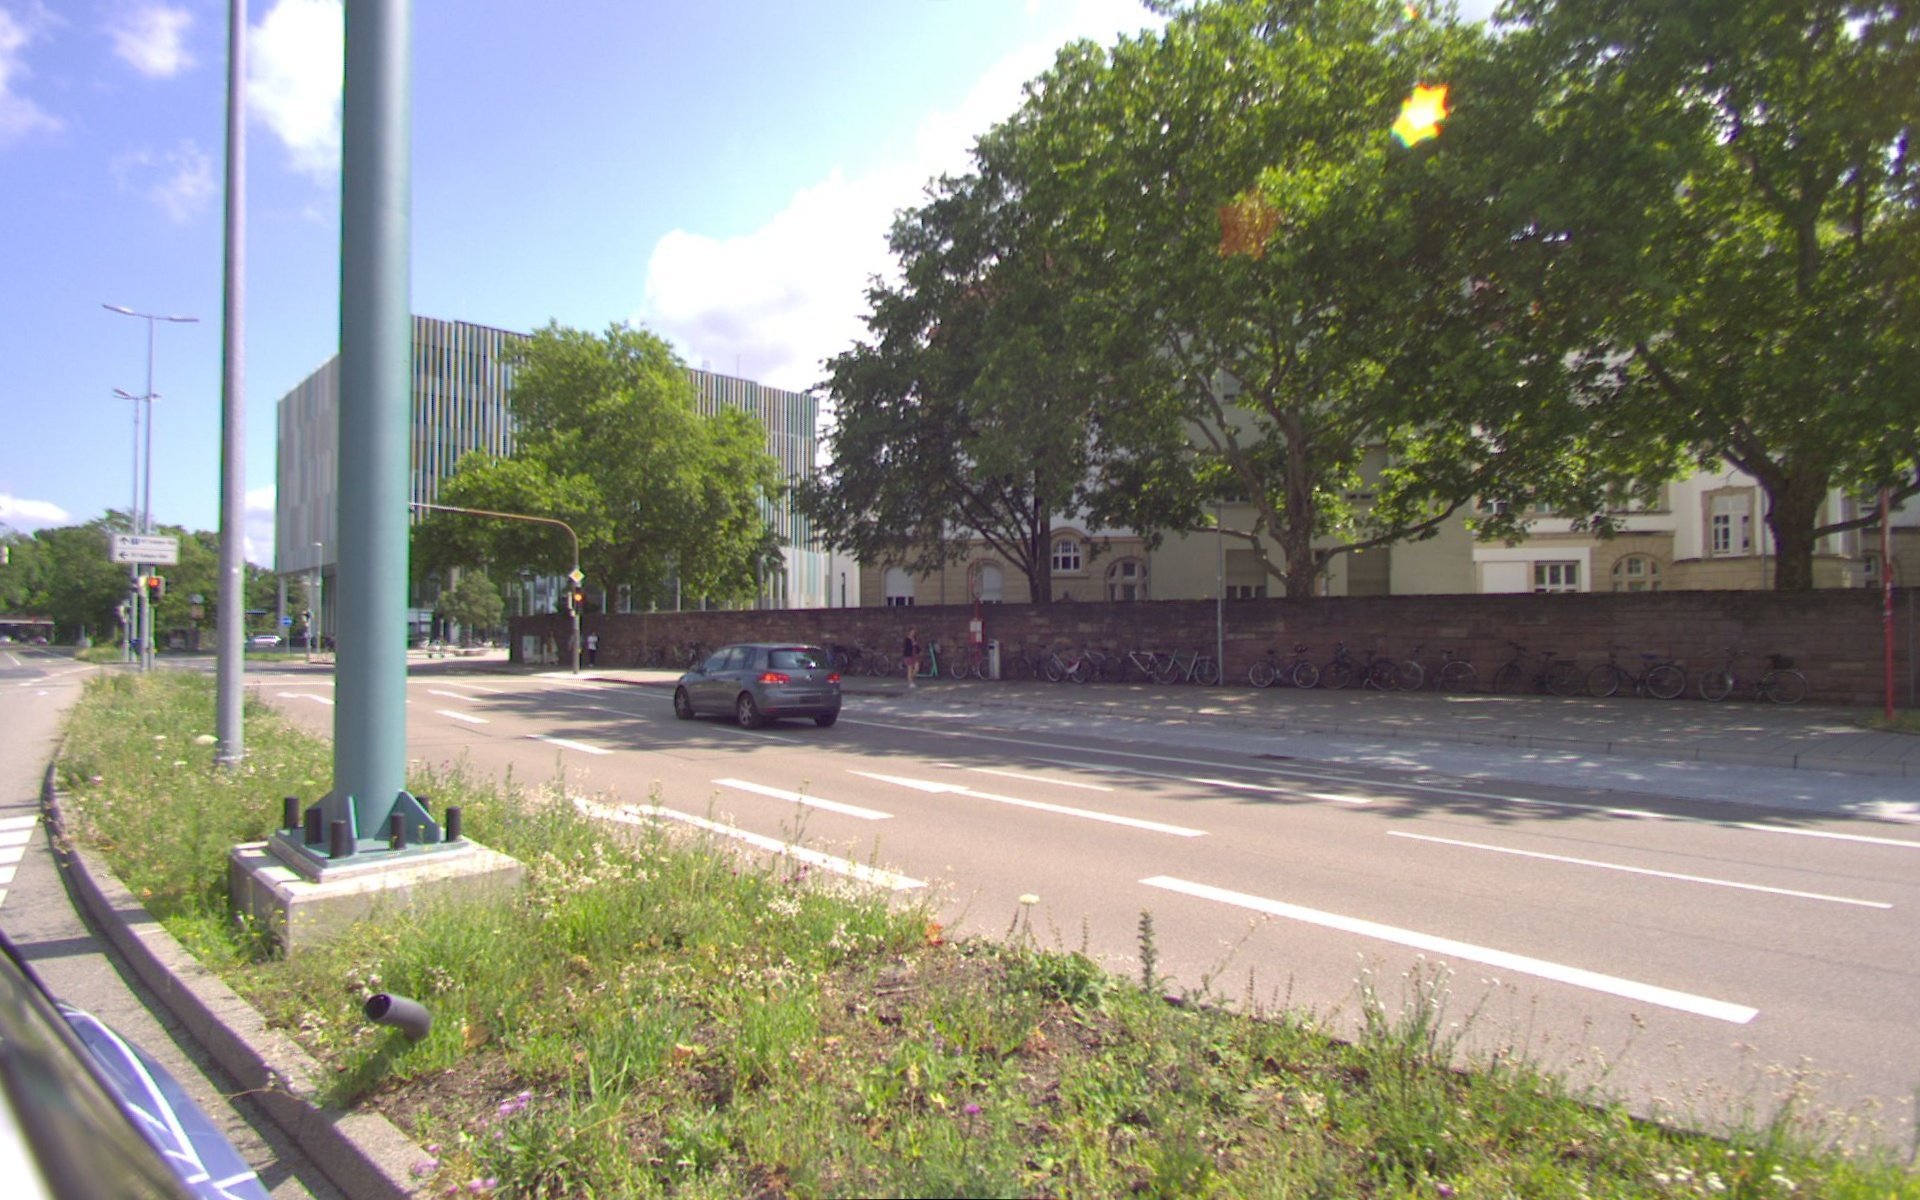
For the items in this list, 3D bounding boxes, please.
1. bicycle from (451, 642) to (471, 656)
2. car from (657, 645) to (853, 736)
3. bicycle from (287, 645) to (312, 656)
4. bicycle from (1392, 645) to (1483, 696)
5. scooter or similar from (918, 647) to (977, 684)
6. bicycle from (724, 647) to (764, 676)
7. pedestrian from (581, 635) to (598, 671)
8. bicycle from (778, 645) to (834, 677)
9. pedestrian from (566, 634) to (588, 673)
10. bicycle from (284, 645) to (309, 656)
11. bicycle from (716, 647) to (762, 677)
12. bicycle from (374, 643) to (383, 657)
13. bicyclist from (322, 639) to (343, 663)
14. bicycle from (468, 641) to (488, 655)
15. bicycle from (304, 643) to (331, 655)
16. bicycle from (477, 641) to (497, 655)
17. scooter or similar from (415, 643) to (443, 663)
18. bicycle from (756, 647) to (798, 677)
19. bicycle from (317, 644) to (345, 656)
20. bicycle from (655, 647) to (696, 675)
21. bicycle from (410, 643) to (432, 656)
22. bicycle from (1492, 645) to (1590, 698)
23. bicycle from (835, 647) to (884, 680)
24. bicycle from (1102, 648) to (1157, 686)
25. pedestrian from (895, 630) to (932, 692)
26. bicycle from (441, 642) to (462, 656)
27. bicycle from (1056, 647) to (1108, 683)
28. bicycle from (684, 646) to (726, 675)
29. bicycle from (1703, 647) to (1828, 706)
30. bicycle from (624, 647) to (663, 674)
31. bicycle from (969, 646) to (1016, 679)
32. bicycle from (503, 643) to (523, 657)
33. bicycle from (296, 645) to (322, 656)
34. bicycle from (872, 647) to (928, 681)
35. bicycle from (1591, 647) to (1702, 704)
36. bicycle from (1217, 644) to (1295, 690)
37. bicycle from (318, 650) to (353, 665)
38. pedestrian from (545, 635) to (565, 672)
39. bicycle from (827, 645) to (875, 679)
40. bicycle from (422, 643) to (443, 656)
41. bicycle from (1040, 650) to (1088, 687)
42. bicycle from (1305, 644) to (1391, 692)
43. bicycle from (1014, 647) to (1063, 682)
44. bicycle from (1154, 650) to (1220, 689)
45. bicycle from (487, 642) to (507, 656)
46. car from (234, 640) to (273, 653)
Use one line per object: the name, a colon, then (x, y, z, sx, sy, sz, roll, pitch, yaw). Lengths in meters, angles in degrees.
bicycle: (-40.920, 4.000, 83.005, 0.712, 1.105, 2.220, 0, -2, -4)
car: (-3.832, 1.563, 18.452, 1.679, 1.456, 4.152, 3, -4, -41)
bicycle: (-71.159, 5.438, 109.025, 0.722, 1.105, 2.187, -3, -3, 41)
bicycle: (10.577, 1.541, 22.455, 1.750, 1.081, 0.577, -2, -3, 33)
scooter or similar: (-0.403, 1.972, 30.735, 1.880, 1.056, 0.574, -2, -3, 40)
bicycle: (-7.985, 2.258, 37.333, 1.880, 1.056, 0.366, -2, -3, 40)
pedestrian: (-16.141, 2.290, 44.094, 0.616, 1.552, 0.470, -3, -3, 44)
bicycle: (-5.247, 2.083, 34.511, 1.870, 1.056, 0.589, -1, -2, 25)
pedestrian: (-16.497, 2.288, 43.561, 0.731, 1.664, 0.633, -3, -3, 44)
bicycle: (-71.827, 5.454, 109.606, 0.722, 1.098, 2.187, -3, -3, 41)
bicycle: (-7.953, 2.208, 36.420, 1.880, 1.056, 0.586, -2, -3, 40)
bicycle: (-47.919, 4.136, 83.399, 0.539, 1.105, 1.638, 1, -3, -32)
bicyclist: (-39.338, 3.209, 63.438, 0.931, 1.475, 0.633, 0, -2, -9)
bicycle: (-39.441, 3.939, 82.774, 0.712, 1.105, 2.220, 0, -2, -4)
bicycle: (-65.489, 4.993, 103.111, 0.722, 1.105, 2.187, -3, -3, 41)
bicycle: (-38.501, 3.911, 82.459, 0.712, 1.105, 2.220, 0, -2, -4)
scooter or similar: (-31.775, 3.153, 60.589, 0.500, 1.166, 1.491, -1, -2, 21)
bicycle: (-6.529, 2.188, 35.982, 1.880, 1.056, 0.366, -2, -3, 40)
bicycle: (-61.287, 4.868, 98.588, 0.722, 1.105, 2.187, -3, -3, 41)
bicycle: (-11.238, 2.398, 39.986, 1.880, 1.056, 0.623, -2, -3, 40)
bicycle: (-44.228, 4.058, 83.034, 0.712, 1.105, 2.220, 0, -2, -4)
bicycle: (12.201, 1.485, 21.315, 1.747, 1.081, 0.578, -2, -2, 28)
bicycle: (-3.311, 2.083, 33.284, 1.880, 1.056, 0.390, -2, -3, 40)
bicycle: (4.504, 1.774, 26.929, 1.398, 0.962, 0.363, -2, -3, 34)
pedestrian: (-1.260, 1.645, 27.410, 0.744, 1.622, 0.649, -2, -2, 42)
bicycle: (-41.682, 4.023, 82.962, 0.712, 1.105, 2.220, 0, -2, -4)
bicycle: (3.344, 1.788, 27.818, 1.398, 0.962, 0.363, -2, -3, 34)
bicycle: (-9.749, 2.308, 38.670, 1.880, 1.056, 0.558, -2, -3, 40)
bicycle: (15.375, 1.440, 19.364, 1.747, 1.081, 0.578, -2, -2, 28)
bicycle: (-12.985, 2.468, 41.548, 1.880, 1.056, 0.623, -2, -3, 40)
bicycle: (0.943, 1.831, 29.702, 1.398, 0.962, 0.363, -2, -3, 34)
bicycle: (-36.223, 4.054, 82.118, 0.736, 1.146, 2.320, 0, -2, -4)
bicycle: (-69.110, 5.384, 107.402, 0.722, 1.105, 2.187, -3, -3, 41)
bicycle: (-1.910, 2.005, 31.976, 1.880, 1.056, 0.574, -2, -3, 40)
bicycle: (13.669, 1.485, 20.207, 1.747, 1.081, 0.578, -2, -2, 28)
bicycle: (7.231, 1.622, 24.761, 1.751, 1.081, 0.577, -2, -3, 34)
bicycle: (-39.170, 3.609, 63.450, 1.747, 0.899, 0.639, 0, -2, -9)
pedestrian: (-18.472, 2.435, 46.150, 0.727, 1.664, 0.554, -3, -3, 44)
bicycle: (-3.558, 2.013, 32.954, 1.880, 1.056, 0.369, -2, -3, 40)
bicycle: (-43.392, 4.065, 83.318, 0.712, 1.105, 2.220, 0, -2, -4)
bicycle: (2.785, 1.825, 27.245, 0.361, 0.962, 1.629, 1, -2, -32)
bicycle: (9.003, 1.562, 23.516, 1.751, 1.081, 0.577, -2, -3, 34)
bicycle: (2.228, 1.822, 28.721, 1.398, 0.962, 0.363, -2, -3, 34)
bicycle: (5.807, 1.757, 25.910, 1.623, 0.962, 0.367, -2, -3, 34)
bicycle: (-37.612, 3.944, 82.281, 0.712, 1.105, 2.220, 0, -2, -4)
car: (-92.532, 6.063, 132.563, 3.938, 1.699, 1.648, 2, -3, -42)
